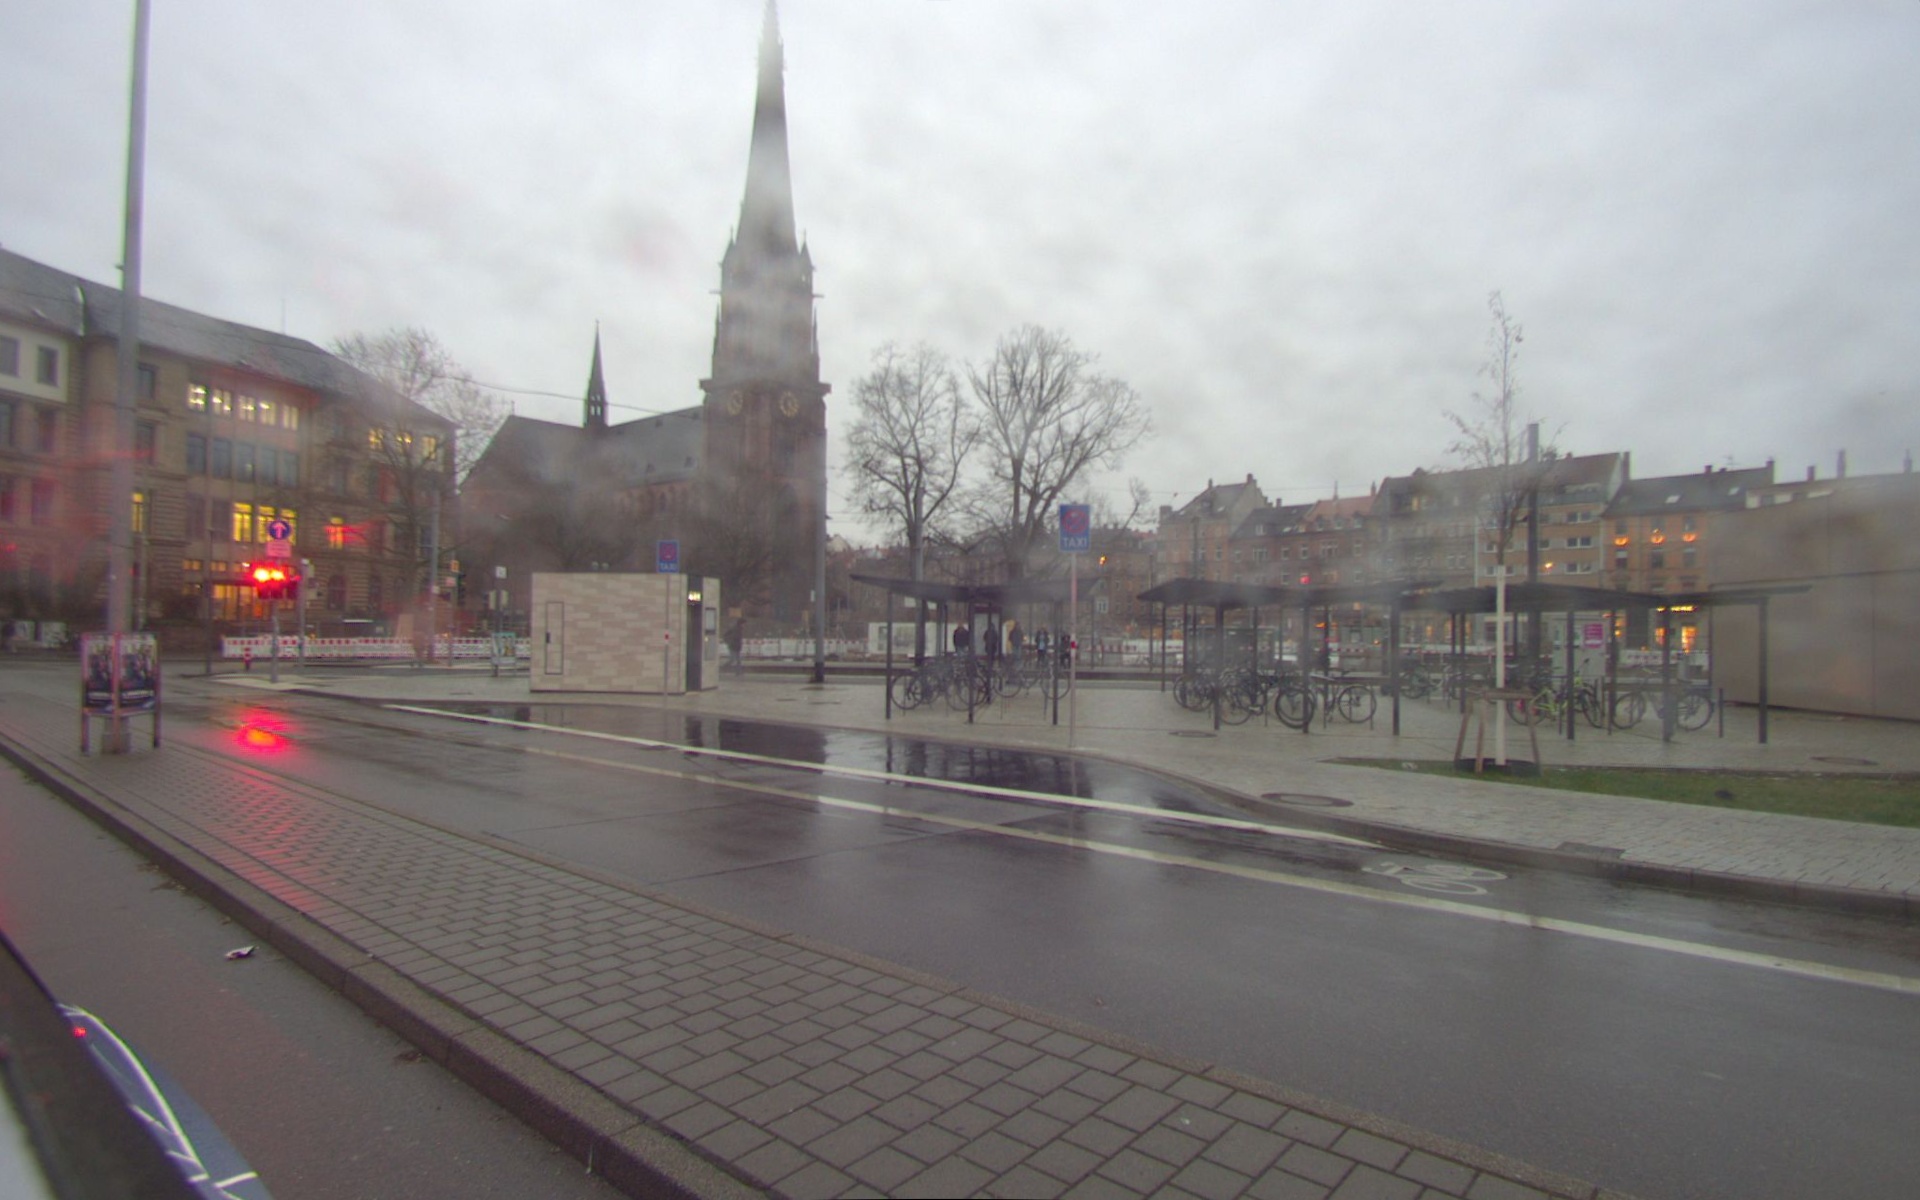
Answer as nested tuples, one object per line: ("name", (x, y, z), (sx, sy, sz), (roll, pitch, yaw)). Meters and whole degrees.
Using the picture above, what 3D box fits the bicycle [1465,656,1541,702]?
("bicycle", (13.229, 1.920, 24.670), (1.551, 1.044, 0.521), (1, -1, 1))

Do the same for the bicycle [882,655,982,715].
("bicycle", (-0.542, 1.656, 19.872), (1.905, 1.078, 0.473), (1, -1, 11))

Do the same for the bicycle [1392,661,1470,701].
("bicycle", (11.618, 1.995, 24.997), (1.672, 0.898, 0.474), (1, -1, 5))

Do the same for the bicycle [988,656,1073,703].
("bicycle", (1.636, 1.824, 23.429), (1.905, 0.993, 0.473), (1, -1, 11))

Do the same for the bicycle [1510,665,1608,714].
("bicycle", (12.897, 1.923, 21.836), (1.751, 0.963, 0.473), (1, -1, 11))

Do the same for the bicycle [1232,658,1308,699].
("bicycle", (7.659, 1.945, 25.076), (1.729, 0.946, 0.474), (1, -1, 7))

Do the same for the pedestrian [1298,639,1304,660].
("pedestrian", (33.004, 4.805, 97.970), (0.386, 2.029, 0.370), (-2, -4, 41))

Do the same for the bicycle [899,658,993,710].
("bicycle", (-0.291, 1.737, 21.110), (1.905, 0.993, 0.473), (1, -1, 11))

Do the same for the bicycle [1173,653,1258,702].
("bicycle", (6.061, 1.832, 24.045), (1.905, 1.078, 0.473), (1, -1, 11))

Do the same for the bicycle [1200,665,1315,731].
("bicycle", (5.253, 1.723, 17.962), (1.905, 1.078, 0.473), (1, -1, 11))

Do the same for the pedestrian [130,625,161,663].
("pedestrian", (-41.047, 2.215, 51.003), (0.960, 1.915, 0.674), (1, -2, 2))

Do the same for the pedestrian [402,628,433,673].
("pedestrian", (-21.084, 1.945, 39.358), (0.760, 1.673, 1.211), (-1, 0, -14))

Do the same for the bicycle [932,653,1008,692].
("bicycle", (0.268, 1.871, 26.132), (1.905, 0.917, 0.473), (1, -1, 11))

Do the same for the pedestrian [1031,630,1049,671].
("pedestrian", (3.031, 1.915, 38.337), (0.580, 1.513, 0.675), (-1, 0, -1))

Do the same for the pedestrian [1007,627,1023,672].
("pedestrian", (2.065, 1.860, 38.119), (0.543, 1.648, 0.571), (-1, 0, -1))

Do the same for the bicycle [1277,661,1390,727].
("bicycle", (6.942, 1.738, 18.872), (1.905, 1.129, 0.473), (1, -1, 11))

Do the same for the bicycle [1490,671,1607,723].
("bicycle", (11.364, 1.865, 19.577), (1.905, 0.898, 0.473), (1, -1, 11))

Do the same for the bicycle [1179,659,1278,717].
("bicycle", (5.429, 1.777, 20.552), (1.905, 1.078, 0.473), (1, -1, 11))

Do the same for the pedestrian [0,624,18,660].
("pedestrian", (-48.603, 2.134, 51.403), (0.888, 1.830, 0.672), (1, -2, 10))

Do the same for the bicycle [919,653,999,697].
("bicycle", (-0.018, 1.832, 24.874), (1.905, 0.993, 0.473), (1, -1, 11))

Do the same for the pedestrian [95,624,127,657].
("pedestrian", (-44.991, 2.162, 53.636), (0.918, 1.737, 0.824), (0, -3, 11))

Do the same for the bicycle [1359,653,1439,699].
("bicycle", (11.181, 1.928, 25.807), (1.780, 1.116, 0.473), (1, -1, 11))

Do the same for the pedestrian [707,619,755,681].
("pedestrian", (-6.737, 1.471, 29.880), (1.056, 1.778, 1.008), (0, -3, 10))

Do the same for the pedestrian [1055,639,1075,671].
("pedestrian", (3.977, 2.076, 38.329), (0.610, 1.165, 0.806), (-1, 0, -1))

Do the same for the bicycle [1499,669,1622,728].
("bicycle", (11.123, 1.817, 18.790), (1.905, 0.983, 0.473), (1, -1, 11))

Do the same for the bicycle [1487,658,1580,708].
("bicycle", (13.249, 1.912, 23.423), (1.810, 1.081, 0.474), (1, -1, 8))

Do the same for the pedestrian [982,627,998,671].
("pedestrian", (1.145, 1.863, 38.657), (0.556, 1.664, 0.540), (-1, 0, -1))

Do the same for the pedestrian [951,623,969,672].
("pedestrian", (0.001, 1.806, 38.584), (0.619, 1.808, 0.672), (-1, 0, -1))

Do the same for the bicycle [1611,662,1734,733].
("bicycle", (12.686, 1.728, 18.051), (1.731, 1.165, 0.617), (1, -1, 1))

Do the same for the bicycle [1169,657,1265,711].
("bicycle", (5.427, 1.776, 21.406), (1.899, 1.078, 0.474), (1, -1, 2))
